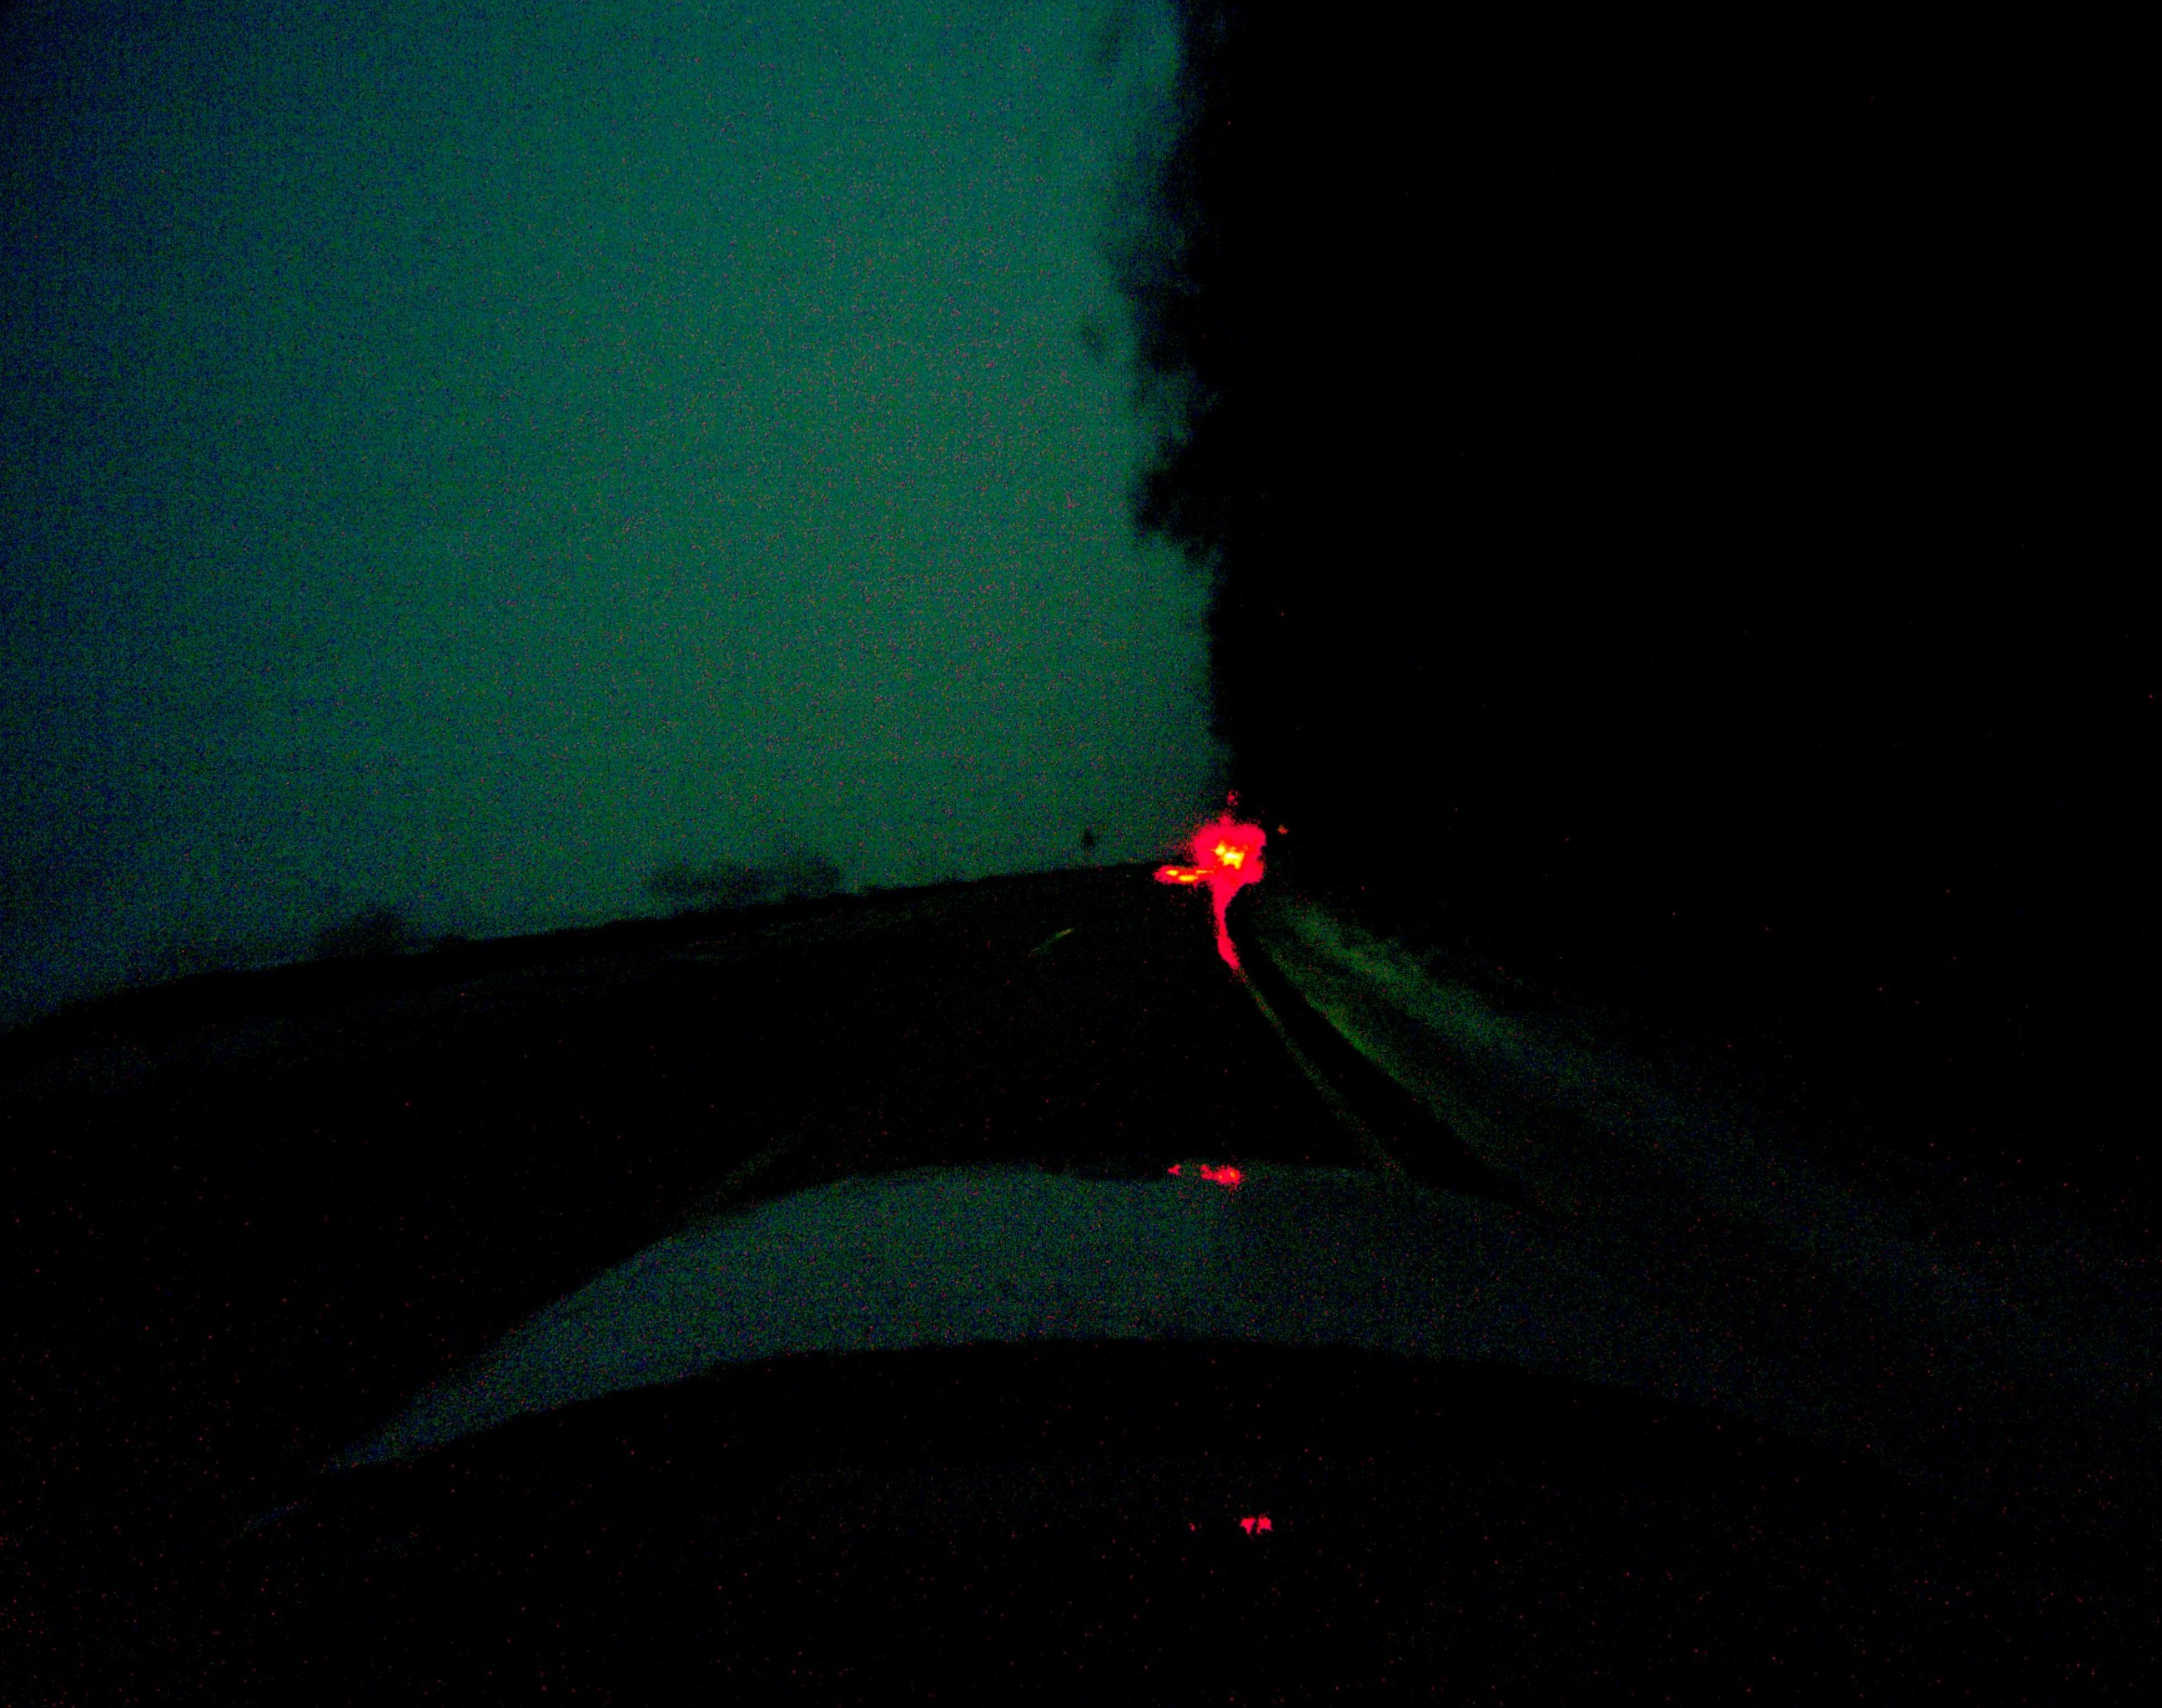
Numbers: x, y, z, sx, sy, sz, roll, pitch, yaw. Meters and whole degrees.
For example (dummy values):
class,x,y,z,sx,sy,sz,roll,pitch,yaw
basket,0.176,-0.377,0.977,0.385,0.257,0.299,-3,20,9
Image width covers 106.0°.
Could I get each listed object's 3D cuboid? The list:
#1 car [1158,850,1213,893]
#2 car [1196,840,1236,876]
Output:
class,x,y,z,sx,sy,sz,roll,pitch,yaw
car,4.149,0.644,31.939,1.934,1.381,4.011,-3,1,9
car,7.232,0.193,43.368,1.981,1.783,4.012,-2,0,10
